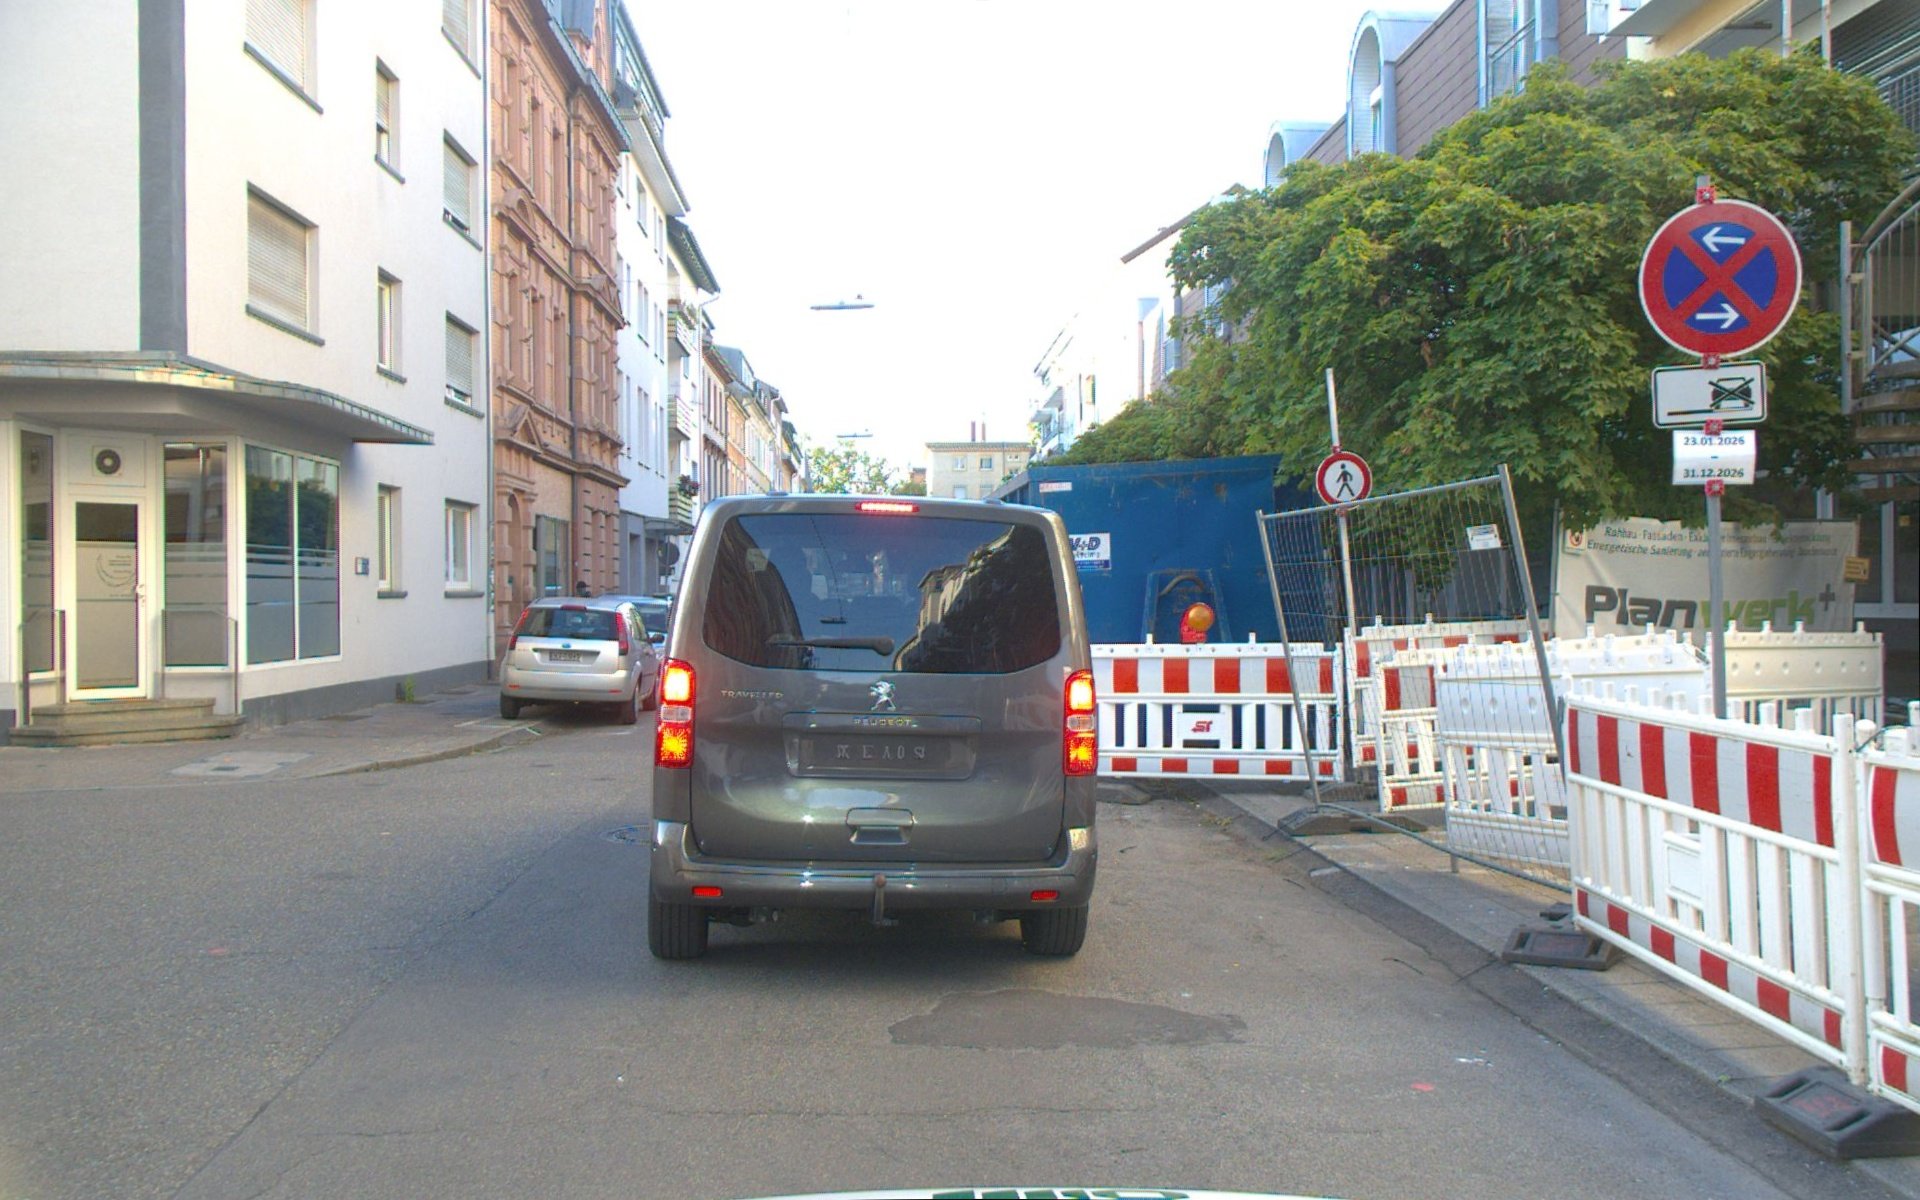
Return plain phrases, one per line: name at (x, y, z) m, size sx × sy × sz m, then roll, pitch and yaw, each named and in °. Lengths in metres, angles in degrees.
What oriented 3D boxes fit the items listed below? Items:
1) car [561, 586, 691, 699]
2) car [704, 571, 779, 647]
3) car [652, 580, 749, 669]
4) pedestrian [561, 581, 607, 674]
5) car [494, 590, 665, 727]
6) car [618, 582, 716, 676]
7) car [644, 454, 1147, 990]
car at (-5.218, 0.642, 26.183) m, size 1.624 × 1.552 × 3.413 m, roll 4°, pitch -1°, yaw -6°
car at (-6.055, 0.256, 46.269) m, size 1.856 × 1.878 × 4.343 m, roll 4°, pitch -1°, yaw -6°
car at (-5.738, 0.530, 36.906) m, size 1.856 × 1.749 × 3.748 m, roll 4°, pitch -1°, yaw -6°
pedestrian at (-6.914, 0.497, 30.446) m, size 0.726 × 1.693 × 0.702 m, roll -1°, pitch 0°, yaw -7°
car at (-4.707, 0.690, 20.879) m, size 1.624 × 1.485 × 3.413 m, roll 4°, pitch -1°, yaw -6°
car at (-5.848, 0.564, 33.260) m, size 1.635 × 1.695 × 3.087 m, roll 4°, pitch -1°, yaw -6°
car at (-0.447, 0.451, 8.132) m, size 1.829 × 1.919 × 4.229 m, roll 0°, pitch 0°, yaw -6°
